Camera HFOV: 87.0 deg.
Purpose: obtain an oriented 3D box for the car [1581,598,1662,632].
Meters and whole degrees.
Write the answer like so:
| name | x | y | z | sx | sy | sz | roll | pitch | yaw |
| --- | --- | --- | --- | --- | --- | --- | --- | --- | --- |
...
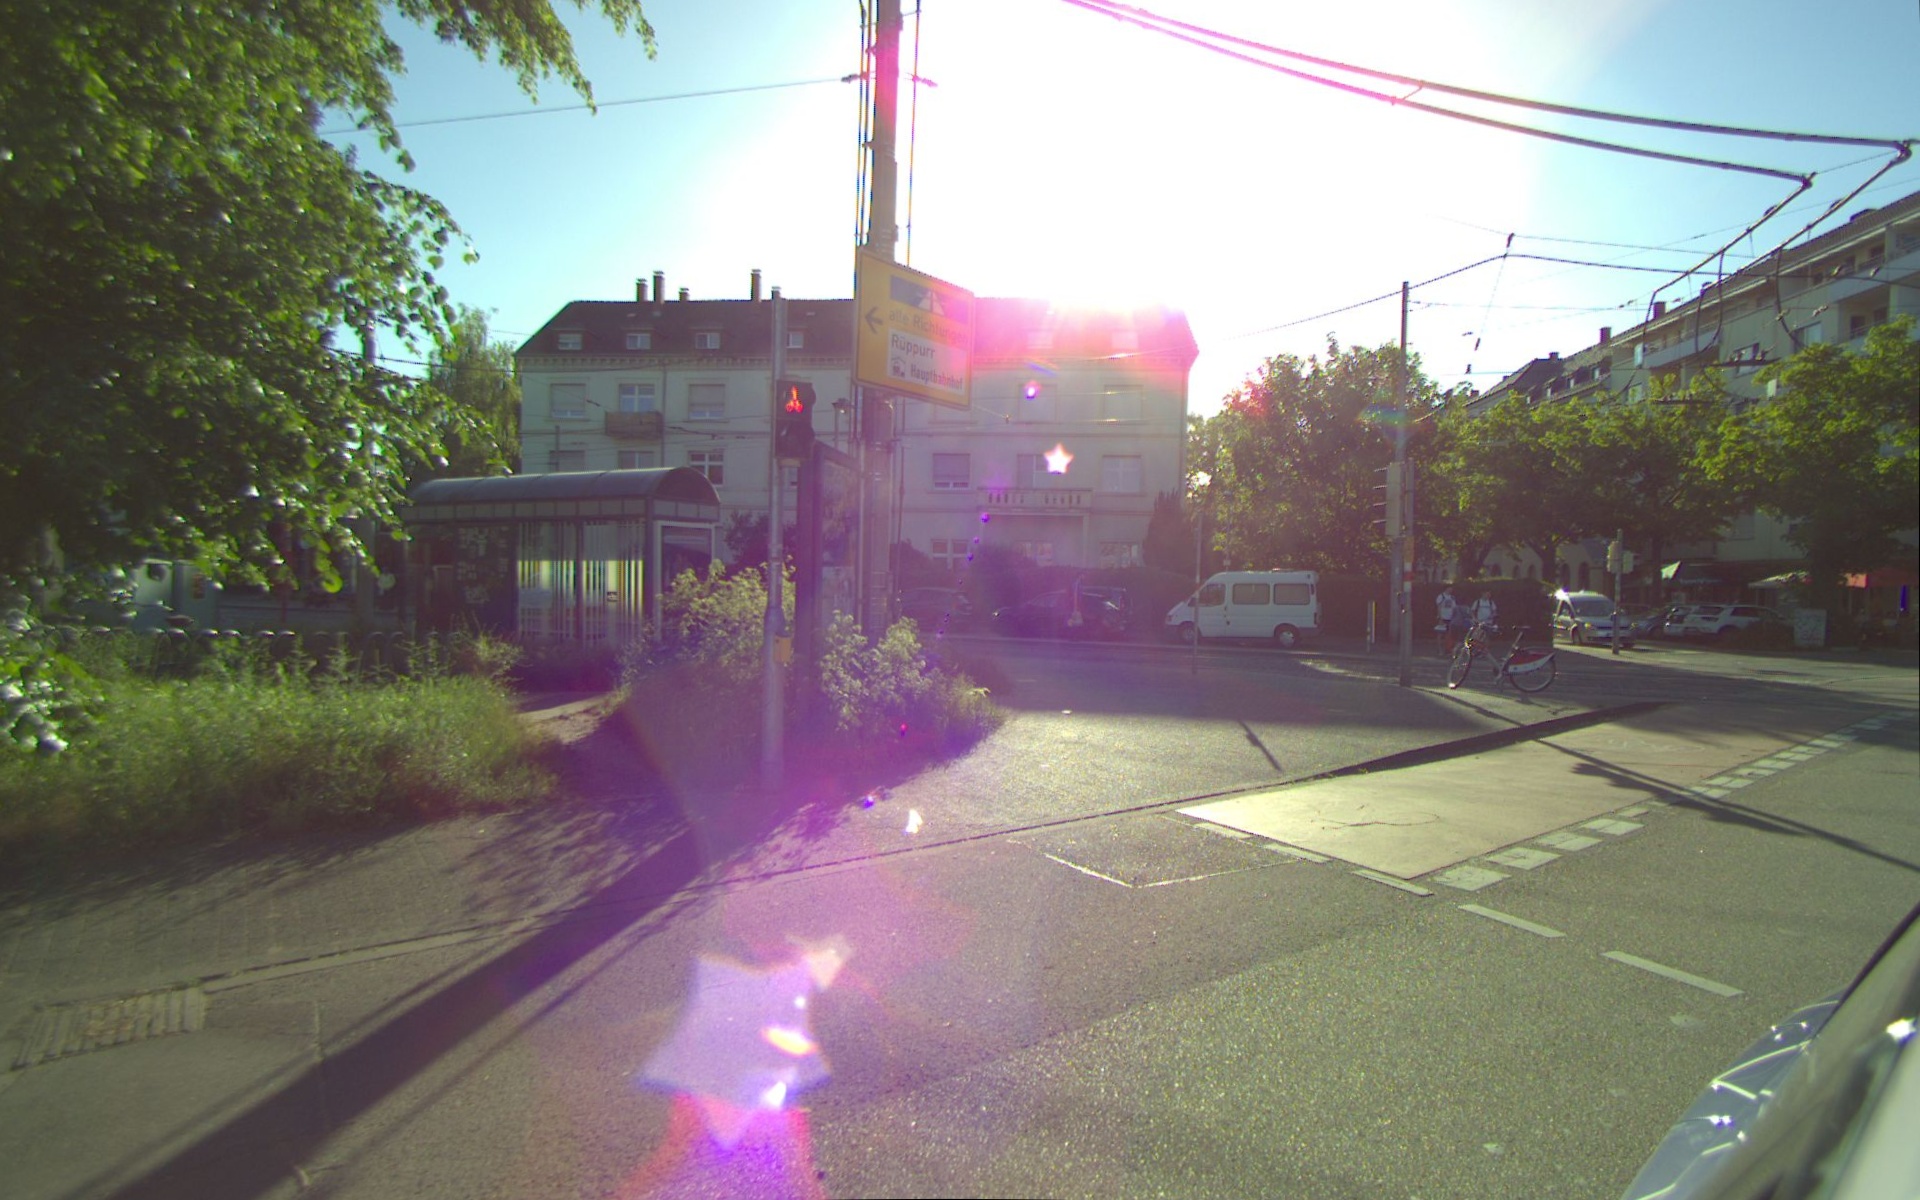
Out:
| name | x | y | z | sx | sy | sz | roll | pitch | yaw |
| --- | --- | --- | --- | --- | --- | --- | --- | --- | --- |
| car | 30.212 | 0.694 | 46.277 | 2.754 | 1.551 | 1.322 | 0 | -1 | 12 |

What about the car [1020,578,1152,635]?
| name | x | y | z | sx | sy | sz | roll | pitch | yaw |
| --- | --- | --- | --- | --- | --- | --- | --- | --- | --- |
| car | 3.970 | 0.190 | 31.773 | 3.729 | 1.624 | 1.957 | 1 | -1 | 21 |

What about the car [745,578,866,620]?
| name | x | y | z | sx | sy | sz | roll | pitch | yaw |
| --- | --- | --- | --- | --- | --- | --- | --- | --- | --- |
| car | -5.586 | -0.007 | 36.665 | 3.934 | 1.450 | 1.957 | 0 | -1 | 21 |

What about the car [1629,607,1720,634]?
| name | x | y | z | sx | sy | sz | roll | pitch | yaw |
| --- | --- | --- | --- | --- | --- | --- | --- | --- | --- |
| car | 29.413 | 0.838 | 41.720 | 2.754 | 1.096 | 1.322 | 0 | -1 | 12 |

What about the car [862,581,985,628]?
| name | x | y | z | sx | sy | sz | roll | pitch | yaw |
| --- | --- | --- | --- | --- | --- | --- | --- | --- | --- |
| car | -1.236 | 0.155 | 34.482 | 3.729 | 1.485 | 1.957 | 1 | -1 | 21 |

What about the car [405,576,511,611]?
| name | x | y | z | sx | sy | sz | roll | pitch | yaw |
| --- | --- | --- | --- | --- | --- | --- | --- | --- | --- |
| car | -21.804 | -0.246 | 43.937 | 4.325 | 1.446 | 1.679 | 0 | -1 | 21 |

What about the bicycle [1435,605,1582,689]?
| name | x | y | z | sx | sy | sz | roll | pitch | yaw |
| --- | --- | --- | --- | --- | --- | --- | --- | --- | --- |
| bicycle | 8.118 | 0.689 | 15.040 | 1.776 | 1.141 | 0.626 | 2 | -1 | 9 |

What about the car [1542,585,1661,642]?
| name | x | y | z | sx | sy | sz | roll | pitch | yaw |
| --- | --- | --- | --- | --- | --- | --- | --- | --- | --- |
| car | 22.108 | 0.484 | 35.075 | 1.825 | 1.830 | 4.209 | 0 | -1 | 7 |

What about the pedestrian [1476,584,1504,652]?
| name | x | y | z | sx | sy | sz | roll | pitch | yaw |
| --- | --- | --- | --- | --- | --- | --- | --- | --- | --- |
| pedestrian | 14.056 | 0.476 | 26.838 | 0.547 | 1.759 | 0.625 | -1 | -2 | 20 |

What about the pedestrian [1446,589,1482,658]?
| name | x | y | z | sx | sy | sz | roll | pitch | yaw |
| --- | --- | --- | --- | --- | --- | --- | --- | --- | --- |
| pedestrian | 11.912 | 0.552 | 23.950 | 0.663 | 1.613 | 0.724 | -1 | -2 | 20 |

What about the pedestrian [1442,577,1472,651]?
| name | x | y | z | sx | sy | sz | roll | pitch | yaw |
| --- | --- | --- | --- | --- | --- | --- | --- | --- | --- |
| pedestrian | 13.287 | 0.370 | 27.082 | 0.587 | 1.956 | 0.848 | -1 | -2 | 20 |

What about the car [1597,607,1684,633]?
| name | x | y | z | sx | sy | sz | roll | pitch | yaw |
| --- | --- | --- | --- | --- | --- | --- | --- | --- | --- |
| car | 29.293 | 0.873 | 43.625 | 2.754 | 1.096 | 1.322 | 0 | -1 | 12 |

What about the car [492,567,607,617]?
| name | x | y | z | sx | sy | sz | roll | pitch | yaw |
| --- | --- | --- | --- | --- | --- | --- | --- | --- | --- |
| car | -16.997 | -0.287 | 41.893 | 4.280 | 1.989 | 1.896 | 0 | -1 | 21 |

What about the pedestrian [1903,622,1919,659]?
| name | x | y | z | sx | sy | sz | roll | pitch | yaw |
| --- | --- | --- | --- | --- | --- | --- | --- | --- | --- |
| pedestrian | 33.522 | 1.422 | 35.576 | 0.483 | 1.293 | 0.385 | 3 | -3 | -21 |

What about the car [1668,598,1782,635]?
| name | x | y | z | sx | sy | sz | roll | pitch | yaw |
| --- | --- | --- | --- | --- | --- | --- | --- | --- | --- |
| car | 29.853 | 0.660 | 39.569 | 3.149 | 1.420 | 1.573 | 0 | -1 | 12 |

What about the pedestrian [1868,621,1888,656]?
| name | x | y | z | sx | sy | sz | roll | pitch | yaw |
| --- | --- | --- | --- | --- | --- | --- | --- | --- | --- |
| pedestrian | 34.694 | 1.470 | 38.251 | 0.483 | 1.293 | 0.385 | 3 | -3 | -21 |

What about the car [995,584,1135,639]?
| name | x | y | z | sx | sy | sz | roll | pitch | yaw |
| --- | --- | --- | --- | --- | --- | --- | --- | --- | --- |
| car | 3.028 | 0.320 | 29.102 | 3.647 | 1.414 | 1.885 | 1 | -1 | 21 |

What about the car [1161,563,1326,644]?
| name | x | y | z | sx | sy | sz | roll | pitch | yaw |
| --- | --- | --- | --- | --- | --- | --- | --- | --- | --- |
| car | 8.327 | 0.090 | 29.726 | 4.501 | 2.204 | 1.938 | 1 | -1 | 21 |

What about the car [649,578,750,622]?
| name | x | y | z | sx | sy | sz | roll | pitch | yaw |
| --- | --- | --- | --- | --- | --- | --- | --- | --- | --- |
| car | -11.992 | 0.036 | 46.564 | 4.134 | 1.943 | 1.986 | 0 | -1 | 20 |

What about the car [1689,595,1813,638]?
| name | x | y | z | sx | sy | sz | roll | pitch | yaw |
| --- | --- | --- | --- | --- | --- | --- | --- | --- | --- |
| car | 28.881 | 0.614 | 37.025 | 3.149 | 1.506 | 1.573 | 0 | -1 | 12 |
